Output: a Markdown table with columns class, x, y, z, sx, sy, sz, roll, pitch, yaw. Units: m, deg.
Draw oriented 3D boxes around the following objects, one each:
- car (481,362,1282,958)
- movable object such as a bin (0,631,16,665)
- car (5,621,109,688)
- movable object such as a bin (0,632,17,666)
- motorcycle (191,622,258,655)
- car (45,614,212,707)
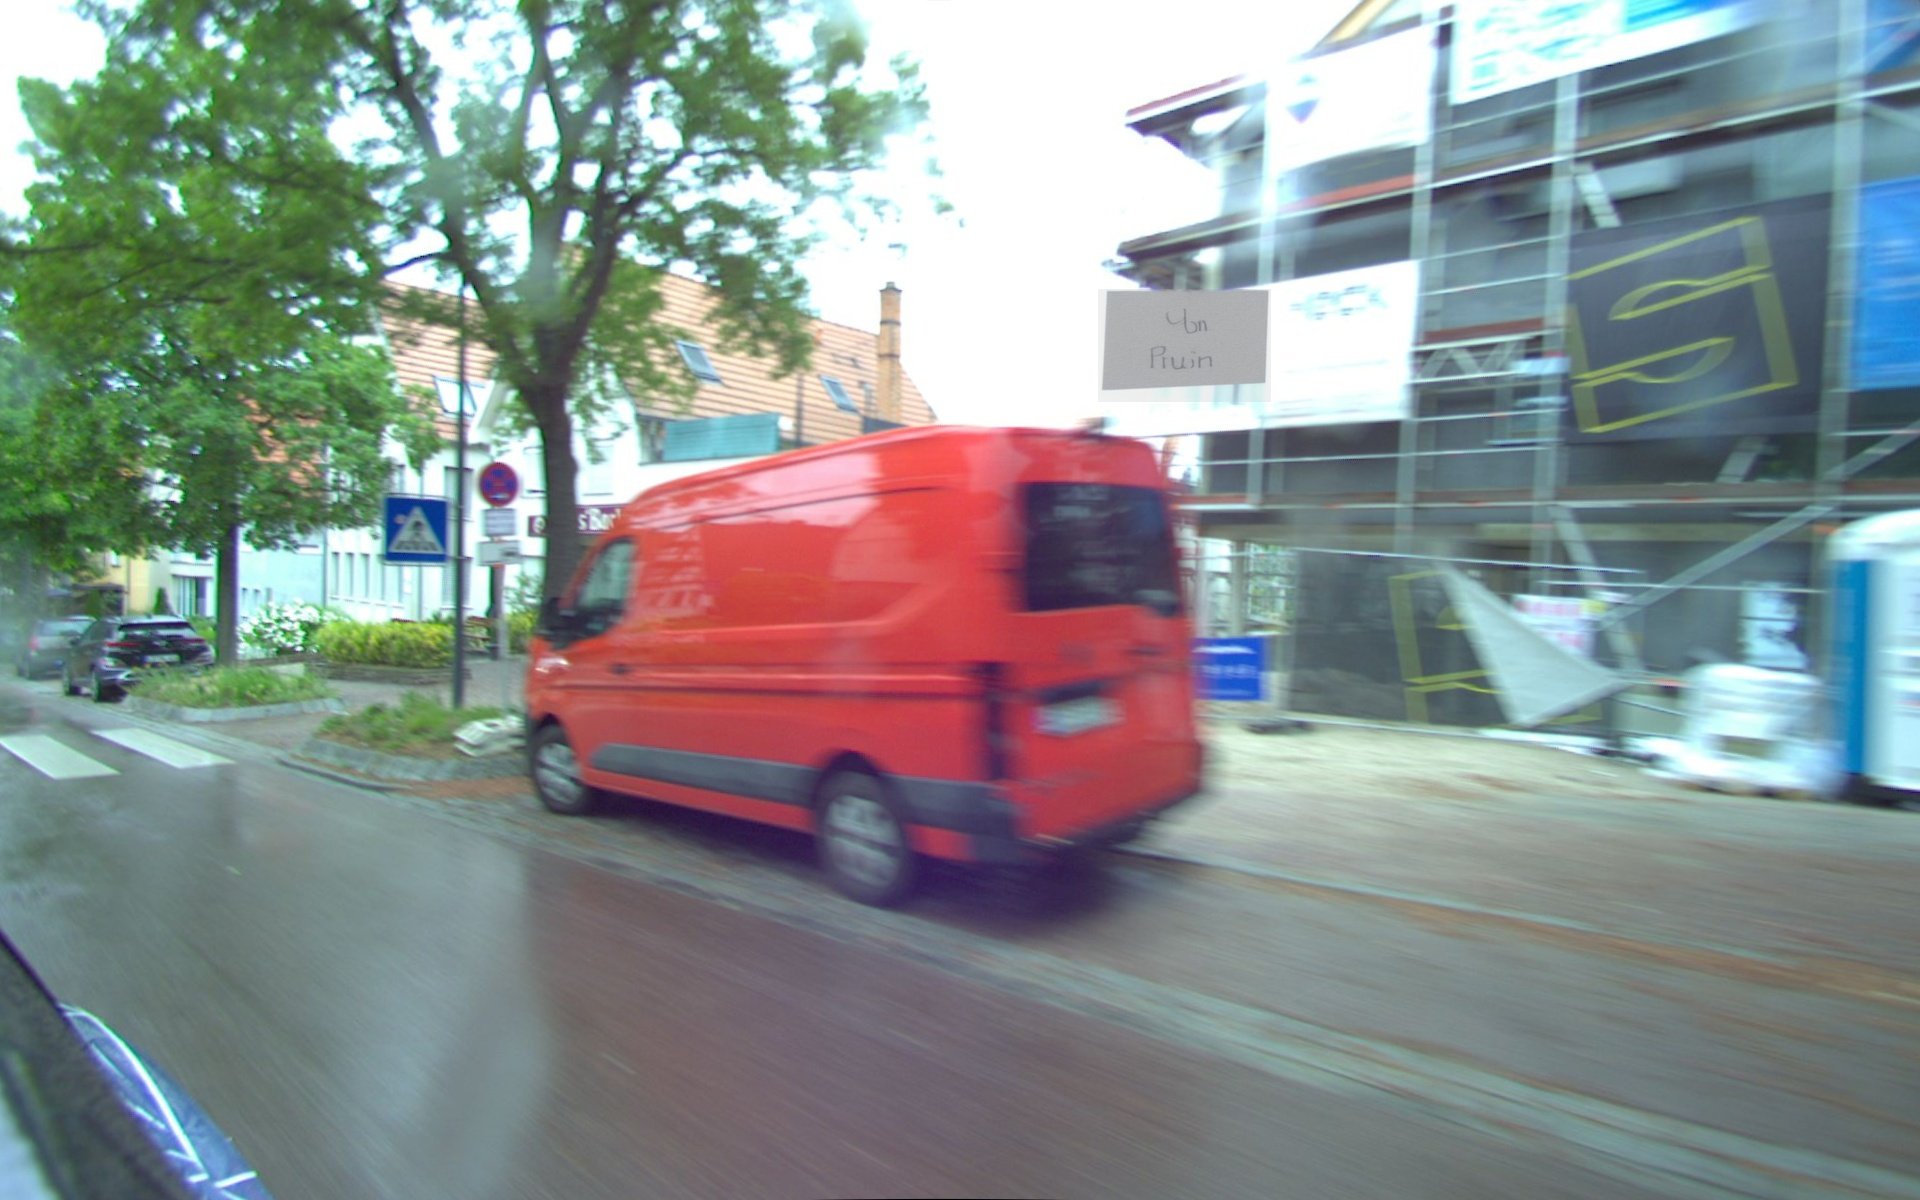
| class | x | y | z | sx | sy | sz | roll | pitch | yaw |
| --- | --- | --- | --- | --- | --- | --- | --- | --- | --- |
| car | -1.017 | 0.318 | 7.082 | 5.785 | 2.502 | 2.278 | -2 | -1 | 43 |
| movable object such as a bin | -31.888 | 1.611 | 33.705 | 0.564 | 1.119 | 0.604 | -2 | -2 | 42 |
| car | -23.286 | 1.341 | 26.047 | 3.865 | 1.544 | 1.629 | -1 | 0 | 43 |
| movable object such as a bin | -31.404 | 1.600 | 33.236 | 0.564 | 1.119 | 0.604 | -2 | -2 | 42 |
| motorcycle | -27.899 | 1.453 | 38.410 | 0.817 | 1.171 | 1.962 | 0 | 0 | 41 |
| car | -16.233 | 1.111 | 19.698 | 3.996 | 1.565 | 1.754 | -1 | 1 | 39 |
